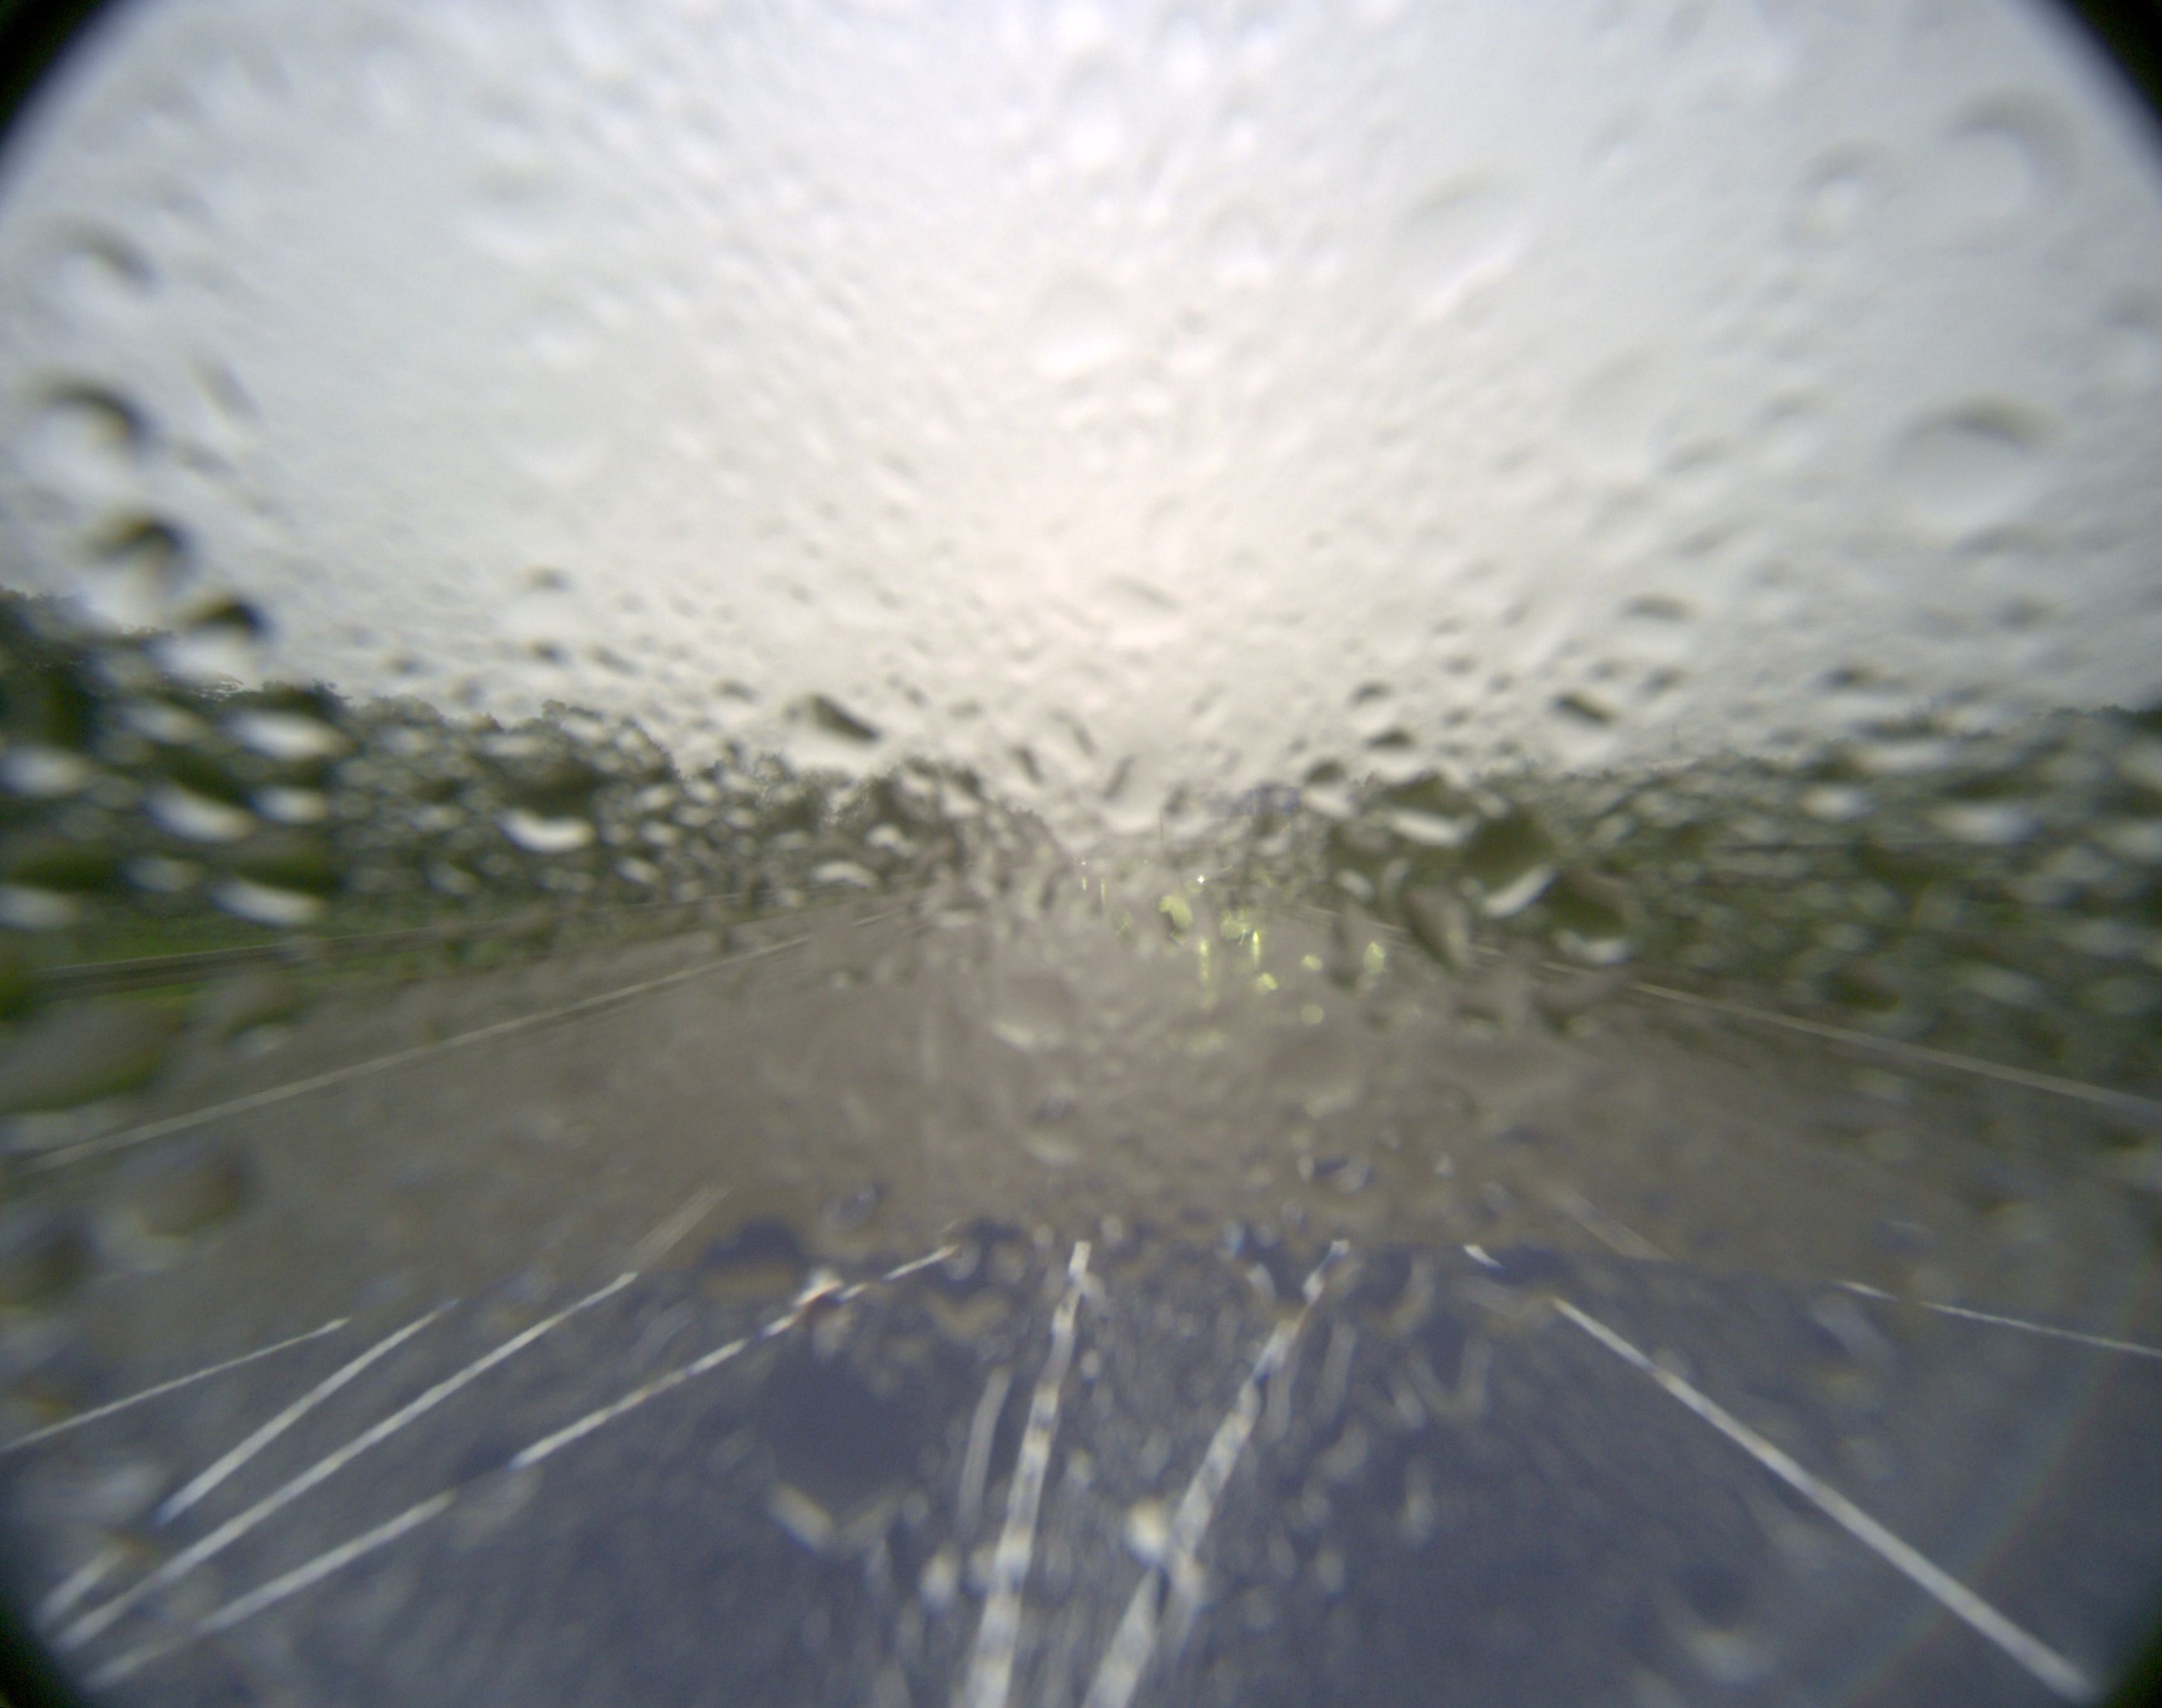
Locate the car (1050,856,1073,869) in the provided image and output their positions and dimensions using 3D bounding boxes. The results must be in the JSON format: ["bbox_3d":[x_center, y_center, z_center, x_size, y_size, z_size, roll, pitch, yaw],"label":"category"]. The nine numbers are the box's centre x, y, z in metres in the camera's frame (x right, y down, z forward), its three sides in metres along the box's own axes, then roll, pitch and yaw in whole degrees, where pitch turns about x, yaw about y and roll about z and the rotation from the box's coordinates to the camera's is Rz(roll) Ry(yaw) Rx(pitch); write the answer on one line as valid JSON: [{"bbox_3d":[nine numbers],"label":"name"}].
[{"bbox_3d":[-1.974,0.856,78.558,1.752,1.205,4.001,-5,0,6],"label":"car"}]

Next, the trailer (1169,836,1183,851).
[{"bbox_3d":[25.445,-2.796,203.456,2.338,3.700,13.931,-5,0,3],"label":"trailer"}]

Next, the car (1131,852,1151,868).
[{"bbox_3d":[5.719,0.553,72.299,1.752,1.369,4.002,-1,0,6],"label":"car"}]

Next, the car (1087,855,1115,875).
[{"bbox_3d":[1.540,0.795,57.075,1.752,1.406,4.001,-1,0,6],"label":"car"}]

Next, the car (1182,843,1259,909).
[{"bbox_3d":[4.147,0.609,23.170,2.046,1.763,4.503,-2,0,8],"label":"car"}]

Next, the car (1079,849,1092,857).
[{"bbox_3d":[0.855,-0.197,129.810,1.752,1.205,4.001,-5,0,6],"label":"car"}]
